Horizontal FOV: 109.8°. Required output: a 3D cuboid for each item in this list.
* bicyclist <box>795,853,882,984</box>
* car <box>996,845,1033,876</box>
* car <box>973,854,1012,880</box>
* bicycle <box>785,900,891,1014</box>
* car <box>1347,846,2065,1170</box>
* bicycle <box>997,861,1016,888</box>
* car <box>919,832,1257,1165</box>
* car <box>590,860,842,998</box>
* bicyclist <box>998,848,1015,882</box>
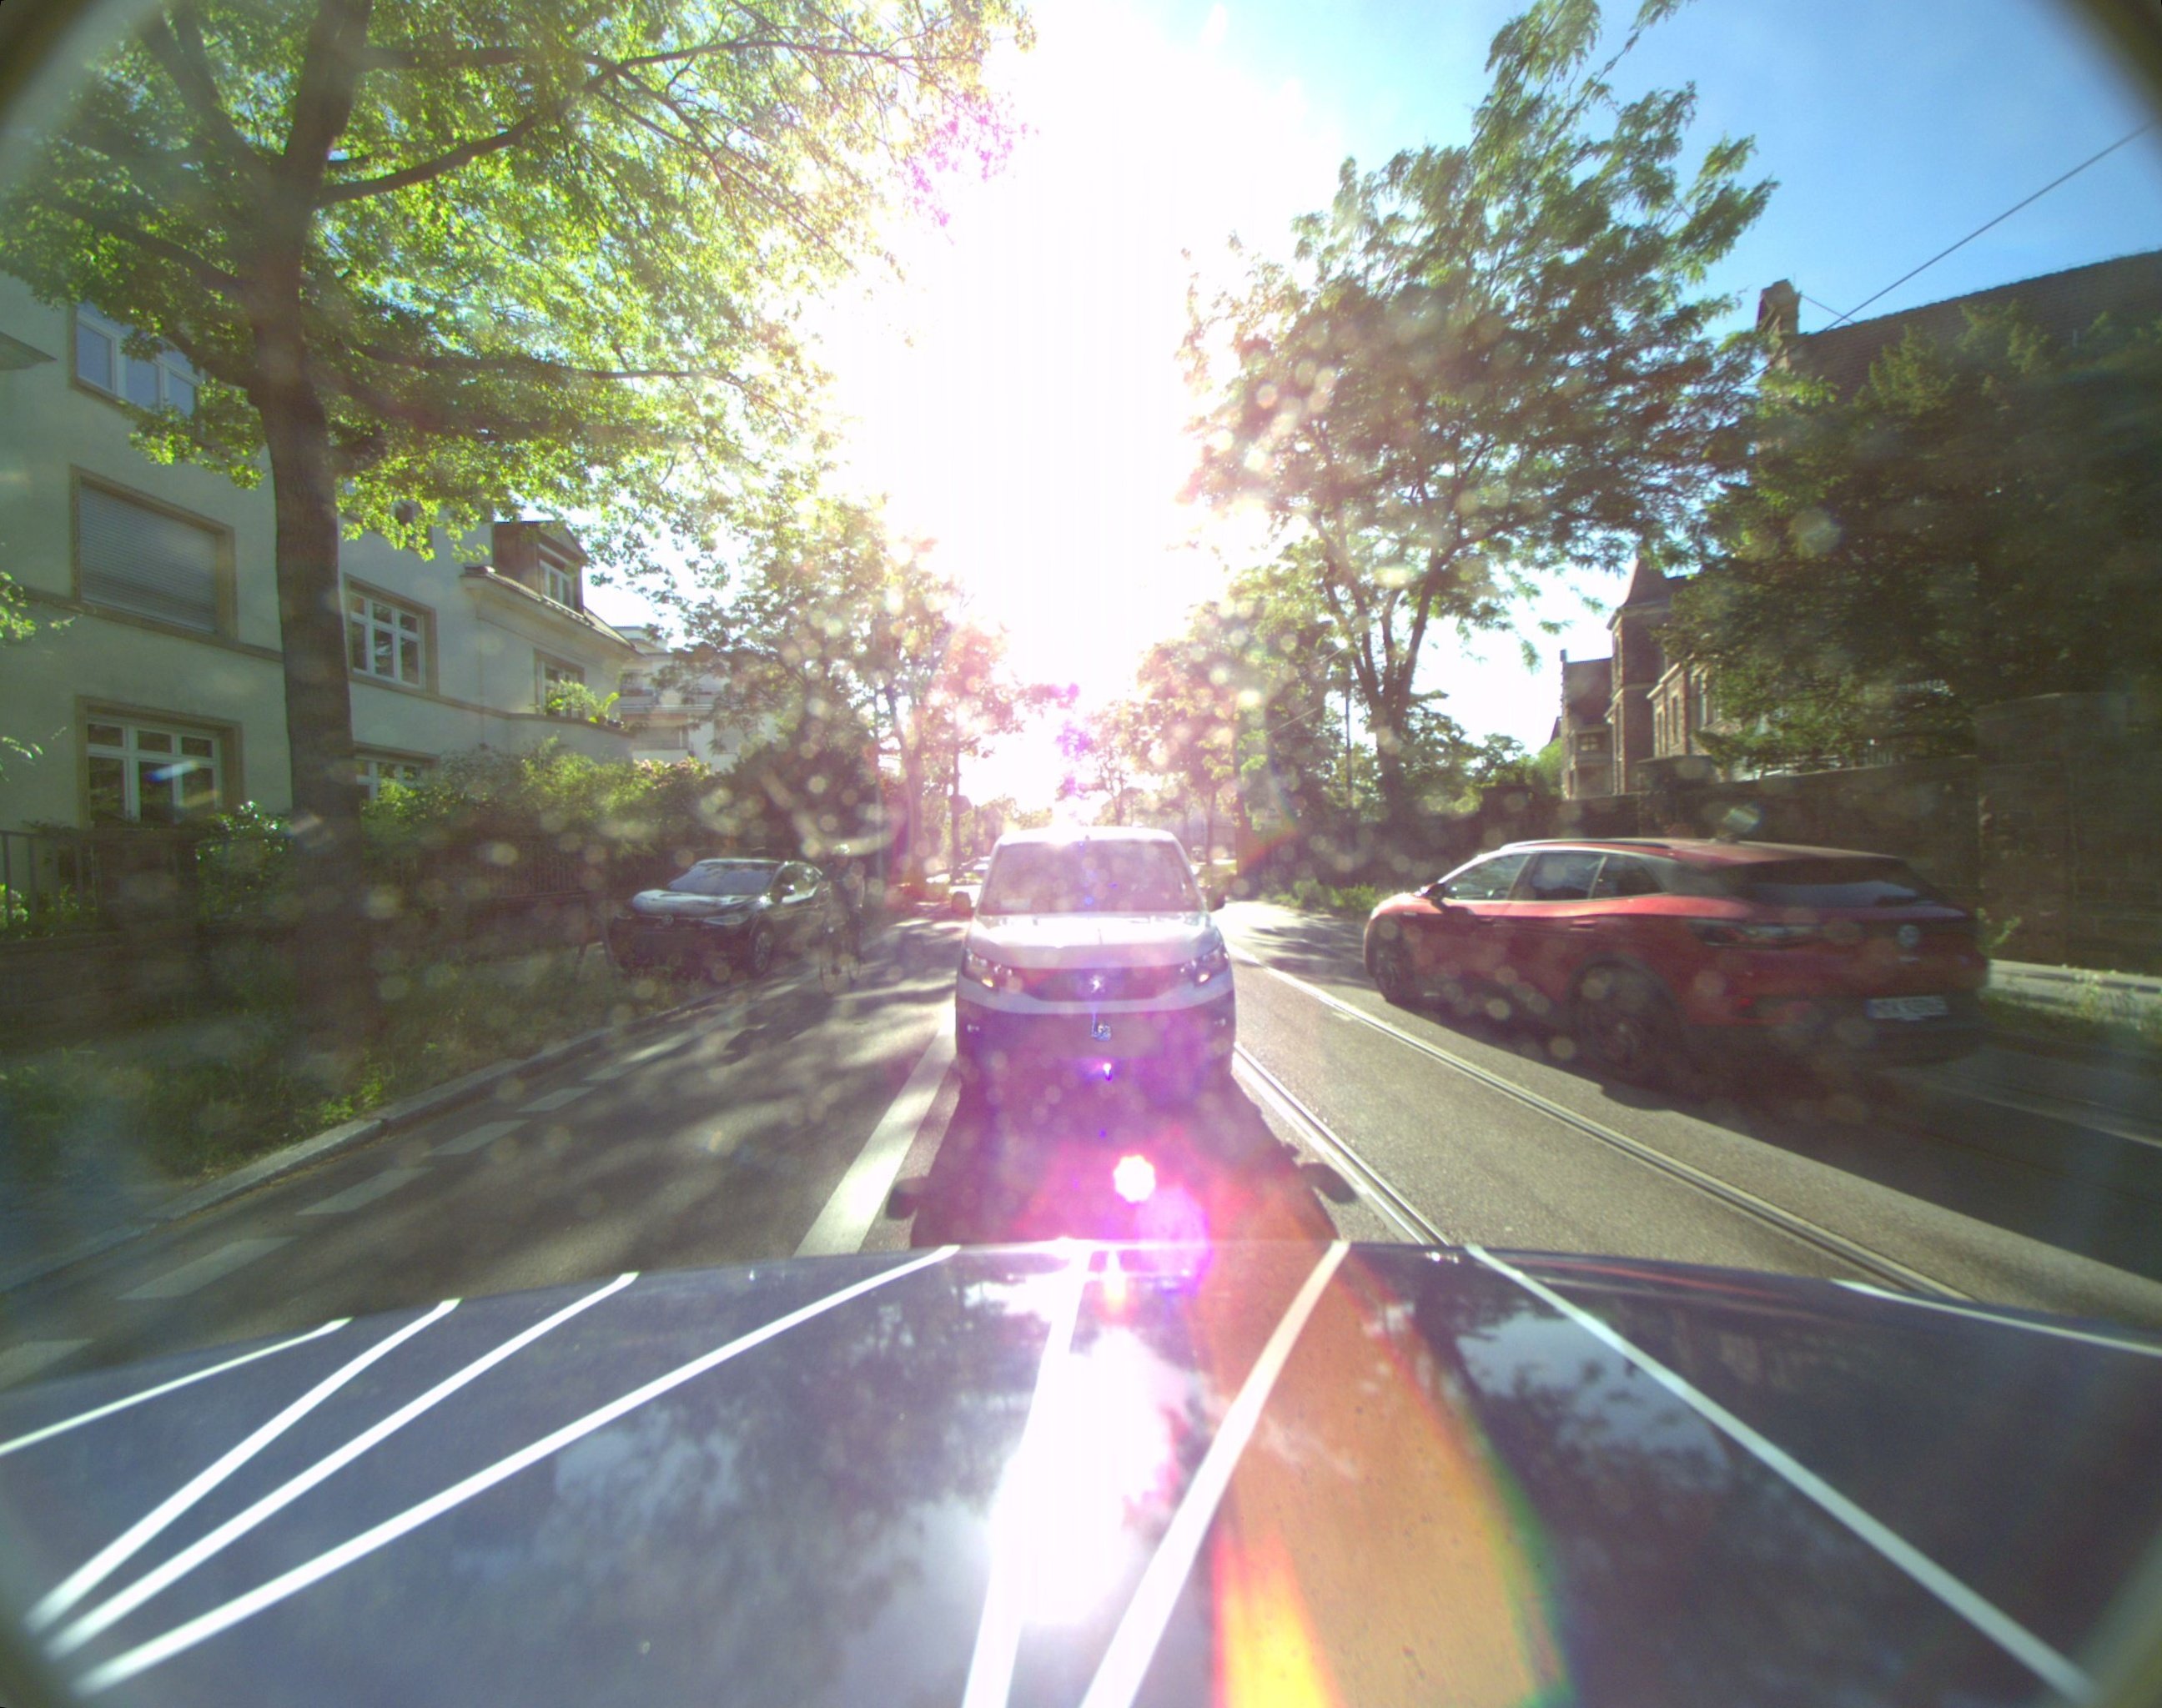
[{"bbox_3d":[-2.956,0.748,9.363,0.645,1.479,1.115,-2,1,1],"label":"bicyclist"},{"bbox_3d":[-4.489,0.426,51.919,1.998,2.002,4.583,-2,0,1],"label":"car"},{"bbox_3d":[-5.241,0.748,45.454,1.787,1.443,4.000,-2,0,1],"label":"car"},{"bbox_3d":[-2.937,1.197,9.382,0.644,1.137,1.902,-2,0,1],"label":"bicycle"},{"bbox_3d":[4.115,0.782,6.144,1.824,1.597,4.355,-2,0,-9],"label":"car"},{"bbox_3d":[-3.391,0.918,34.743,0.644,1.137,1.815,-2,0,1],"label":"bicycle"},{"bbox_3d":[0.055,0.780,6.525,1.793,1.770,4.786,-2,0,0],"label":"car"},{"bbox_3d":[-5.143,0.941,11.406,1.743,1.597,4.091,2,0,0],"label":"car"},{"bbox_3d":[-3.406,0.499,34.752,0.623,1.479,1.115,-2,1,1],"label":"bicyclist"}]
